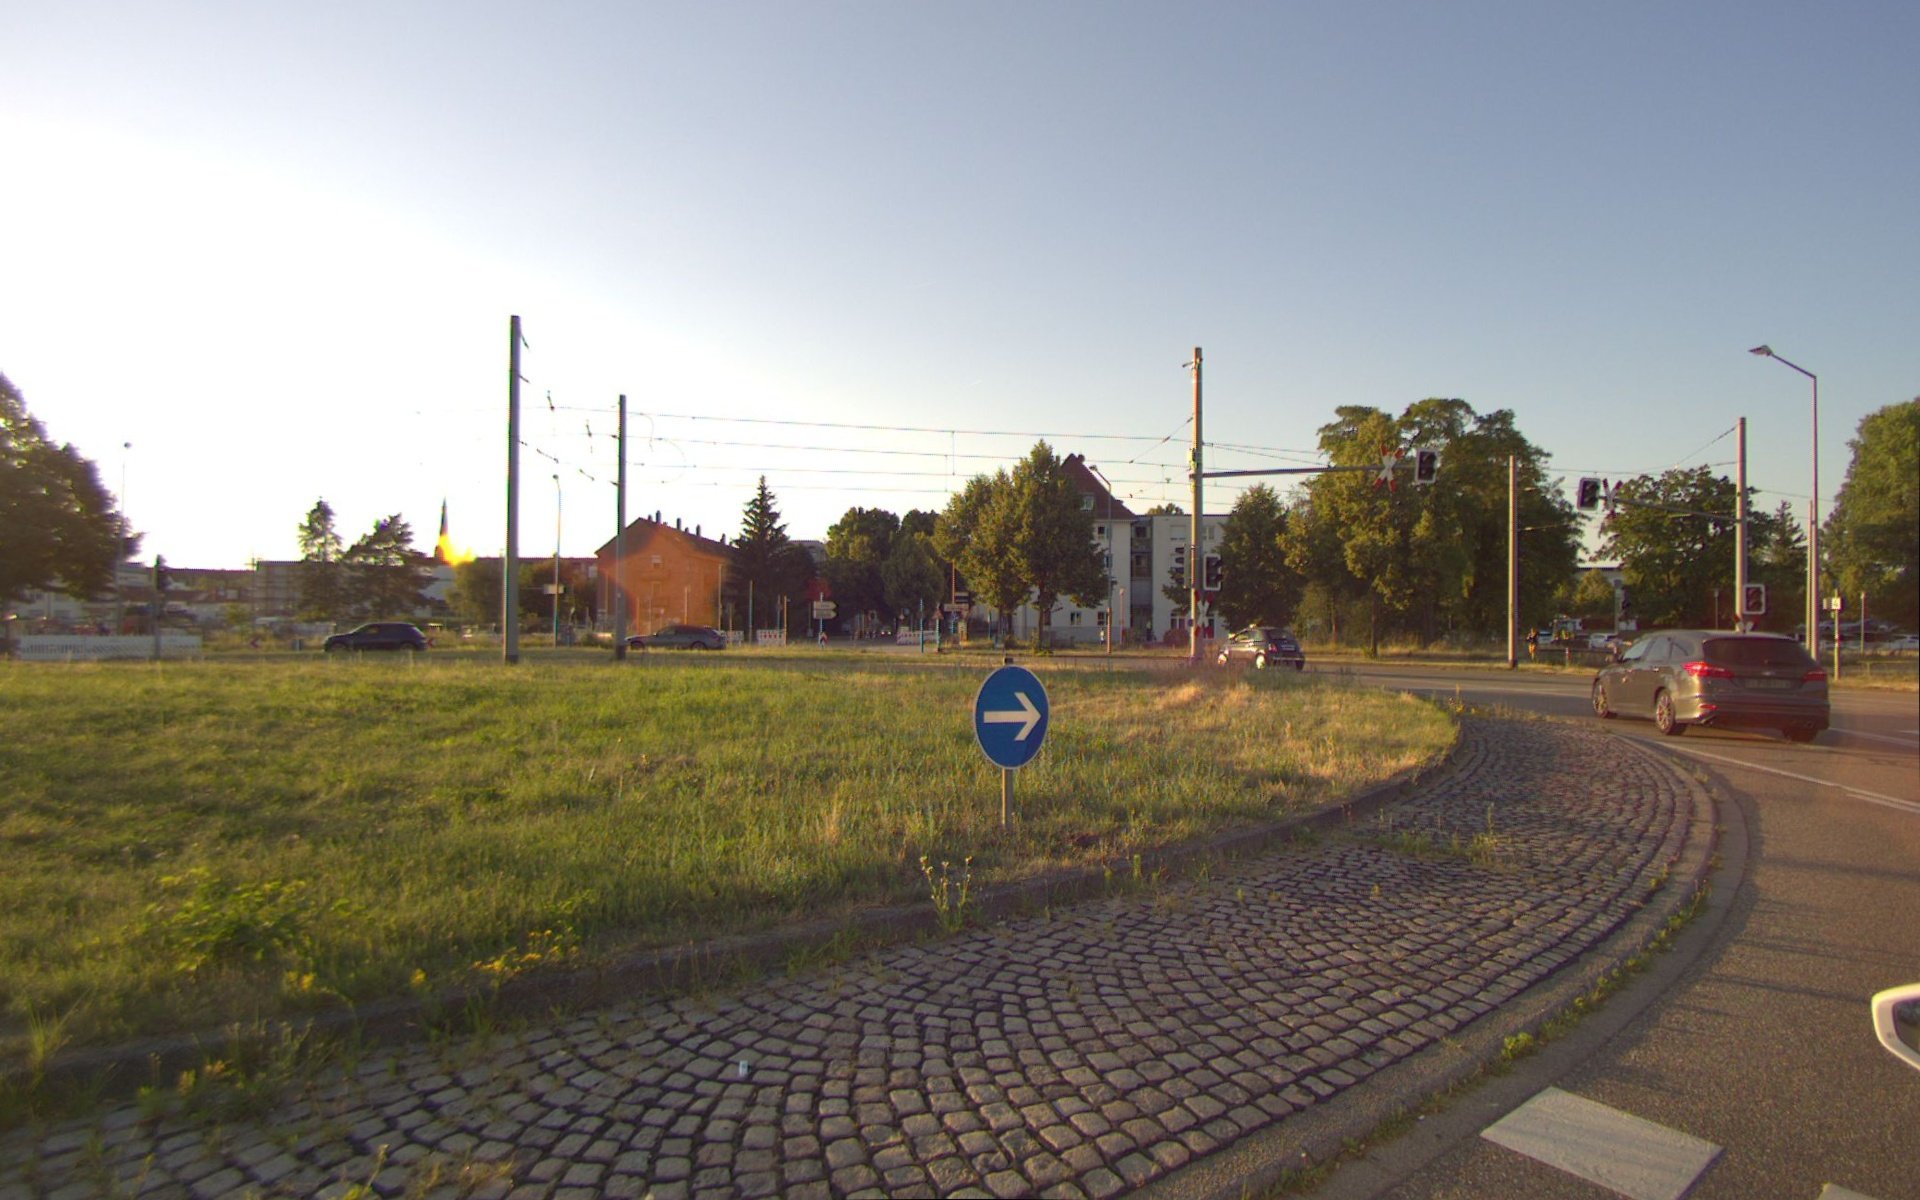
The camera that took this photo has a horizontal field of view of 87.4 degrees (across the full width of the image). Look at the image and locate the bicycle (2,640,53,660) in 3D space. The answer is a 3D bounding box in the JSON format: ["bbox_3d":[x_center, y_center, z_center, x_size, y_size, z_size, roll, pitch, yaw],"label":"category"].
[{"bbox_3d":[-47.374,2.535,51.045,0.539,0.993,1.842,-1,-1,24],"label":"bicycle"}]

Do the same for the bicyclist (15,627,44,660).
[{"bbox_3d":[-47.326,2.225,51.108,0.799,1.662,0.814,-1,-1,24],"label":"bicyclist"}]

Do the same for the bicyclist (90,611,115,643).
[{"bbox_3d":[-44.863,1.431,52.578,0.786,1.655,0.692,0,-1,-20],"label":"bicyclist"}]

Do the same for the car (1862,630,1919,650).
[{"bbox_3d":[77.393,3.320,83.065,1.961,1.571,4.000,0,-1,-1],"label":"car"}]

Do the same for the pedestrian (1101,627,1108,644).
[{"bbox_3d":[11.469,2.819,79.817,0.537,1.392,0.358,0,-1,-3],"label":"pedestrian"}]

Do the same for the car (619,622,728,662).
[{"bbox_3d":[-13.035,1.901,45.948,4.509,1.771,1.751,0,-1,-4],"label":"car"}]

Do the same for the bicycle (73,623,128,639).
[{"bbox_3d":[-45.014,1.625,52.636,2.103,0.857,0.510,0,-1,-21],"label":"bicycle"}]

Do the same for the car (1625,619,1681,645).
[{"bbox_3d":[57.772,2.661,83.818,1.960,2.126,4.001,0,-1,0],"label":"car"}]

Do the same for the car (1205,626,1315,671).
[{"bbox_3d":[10.478,1.671,35.409,1.723,1.465,4.120,0,-1,-17],"label":"car"}]

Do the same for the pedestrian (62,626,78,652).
[{"bbox_3d":[-47.165,2.056,53.235,0.495,1.384,0.433,0,-1,-11],"label":"pedestrian"}]

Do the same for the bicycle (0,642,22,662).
[{"bbox_3d":[-49.108,2.646,51.202,0.539,0.993,1.842,-1,-1,24],"label":"bicycle"}]

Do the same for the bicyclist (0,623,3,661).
[{"bbox_3d":[-49.206,2.155,51.015,0.604,1.944,0.678,-1,-1,24],"label":"bicyclist"}]

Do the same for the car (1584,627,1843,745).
[{"bbox_3d":[10.938,1.154,14.964,1.716,1.486,4.136,-1,-1,16],"label":"car"}]

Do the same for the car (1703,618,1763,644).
[{"bbox_3d":[64.561,2.580,83.975,1.960,2.126,4.001,0,-1,0],"label":"car"}]

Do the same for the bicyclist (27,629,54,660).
[{"bbox_3d":[-46.325,2.227,50.601,0.581,1.526,0.814,-1,-1,24],"label":"bicyclist"}]

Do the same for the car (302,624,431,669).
[{"bbox_3d":[-24.969,1.925,42.432,4.537,1.771,1.740,0,-1,-27],"label":"car"}]

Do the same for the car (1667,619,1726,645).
[{"bbox_3d":[61.212,2.620,83.581,1.960,2.126,4.001,0,-1,0],"label":"car"}]
